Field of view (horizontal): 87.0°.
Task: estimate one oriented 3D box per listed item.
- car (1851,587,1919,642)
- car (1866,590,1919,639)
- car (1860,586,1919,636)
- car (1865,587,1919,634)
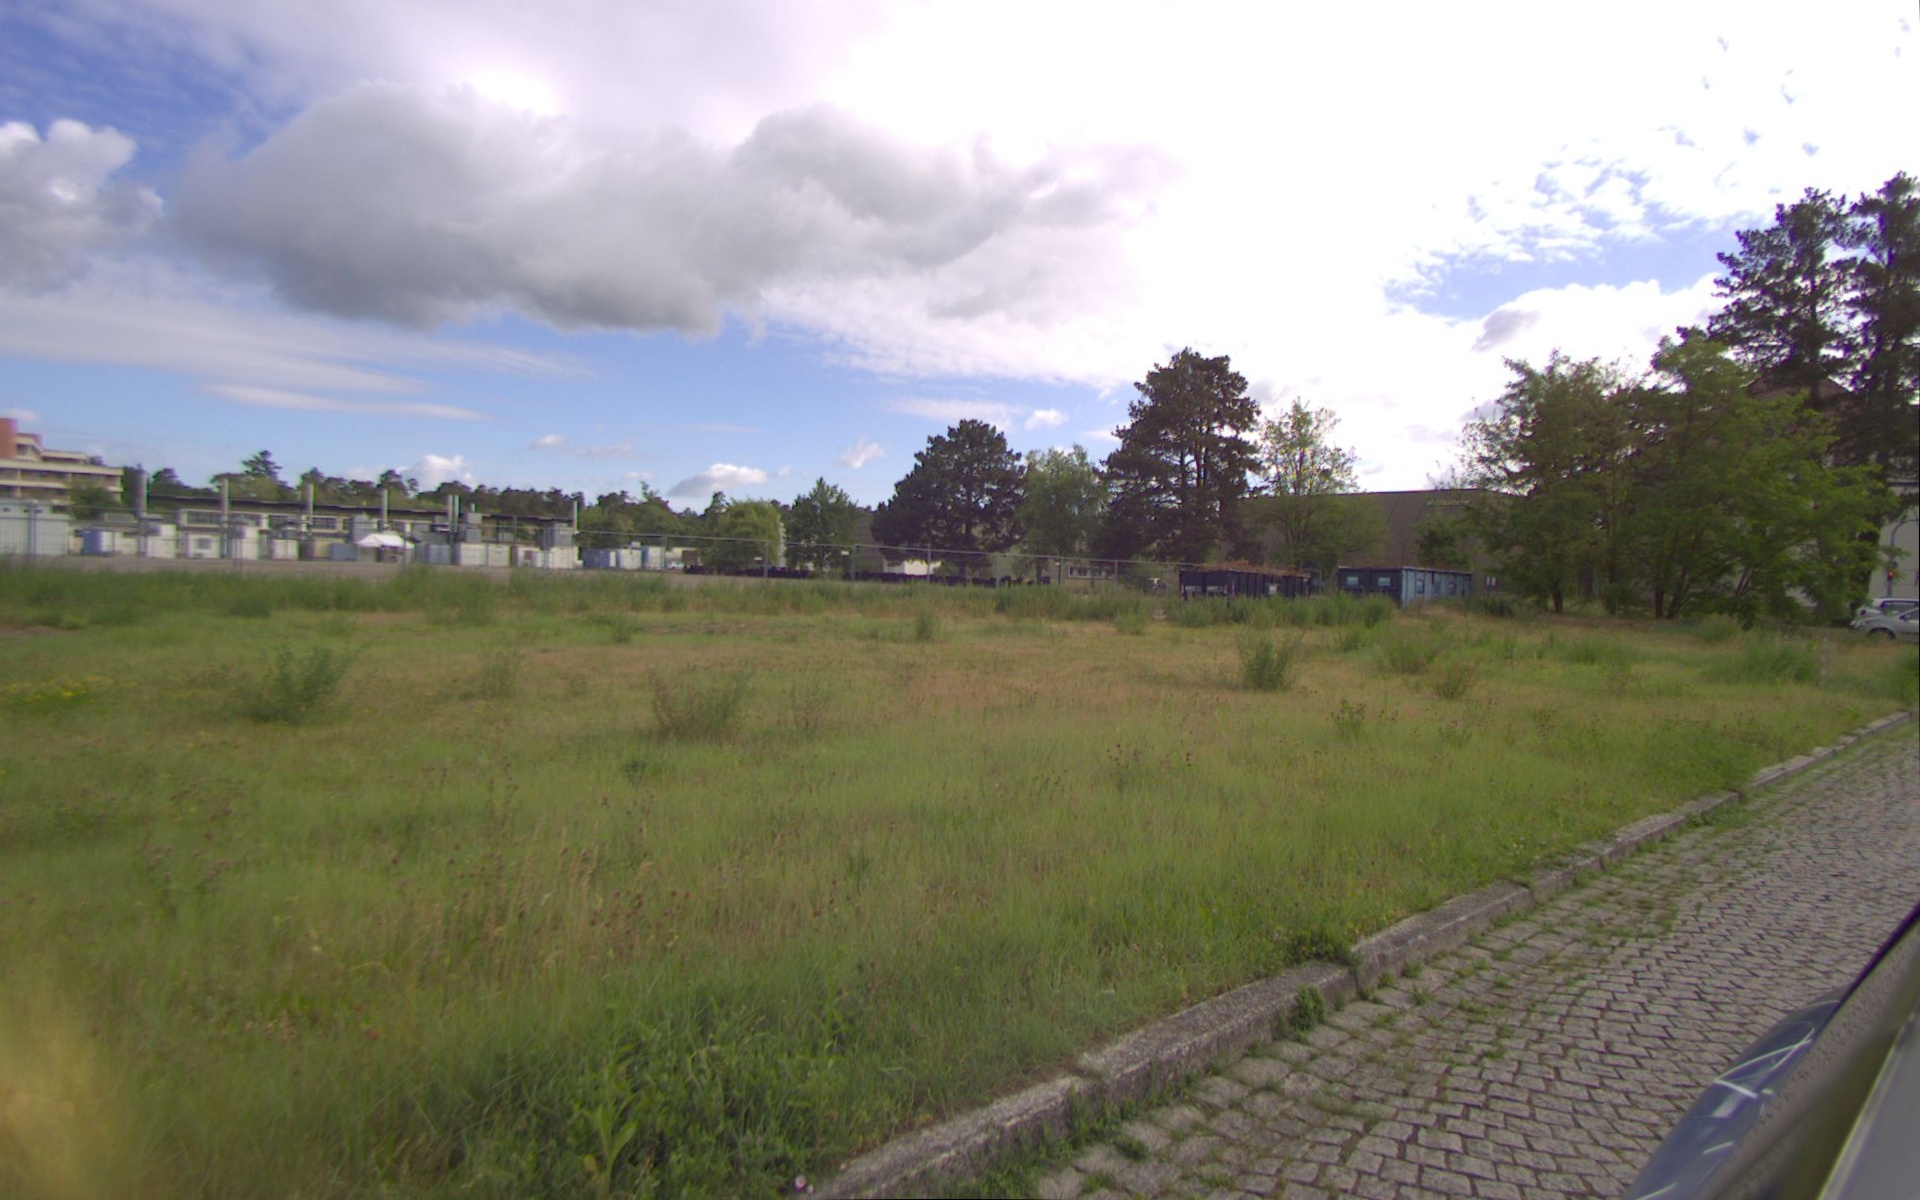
[{"bbox_3d":[30.399,0.555,31.252,1.773,1.533,4.083,1,5,-42],"label":"car"},{"bbox_3d":[32.423,0.599,32.980,1.853,1.470,4.083,1,5,-42],"label":"car"},{"bbox_3d":[34.178,0.508,35.050,1.854,1.615,4.247,0,5,-43],"label":"car"},{"bbox_3d":[36.042,0.515,36.729,1.873,1.584,4.503,1,5,-42],"label":"car"}]
